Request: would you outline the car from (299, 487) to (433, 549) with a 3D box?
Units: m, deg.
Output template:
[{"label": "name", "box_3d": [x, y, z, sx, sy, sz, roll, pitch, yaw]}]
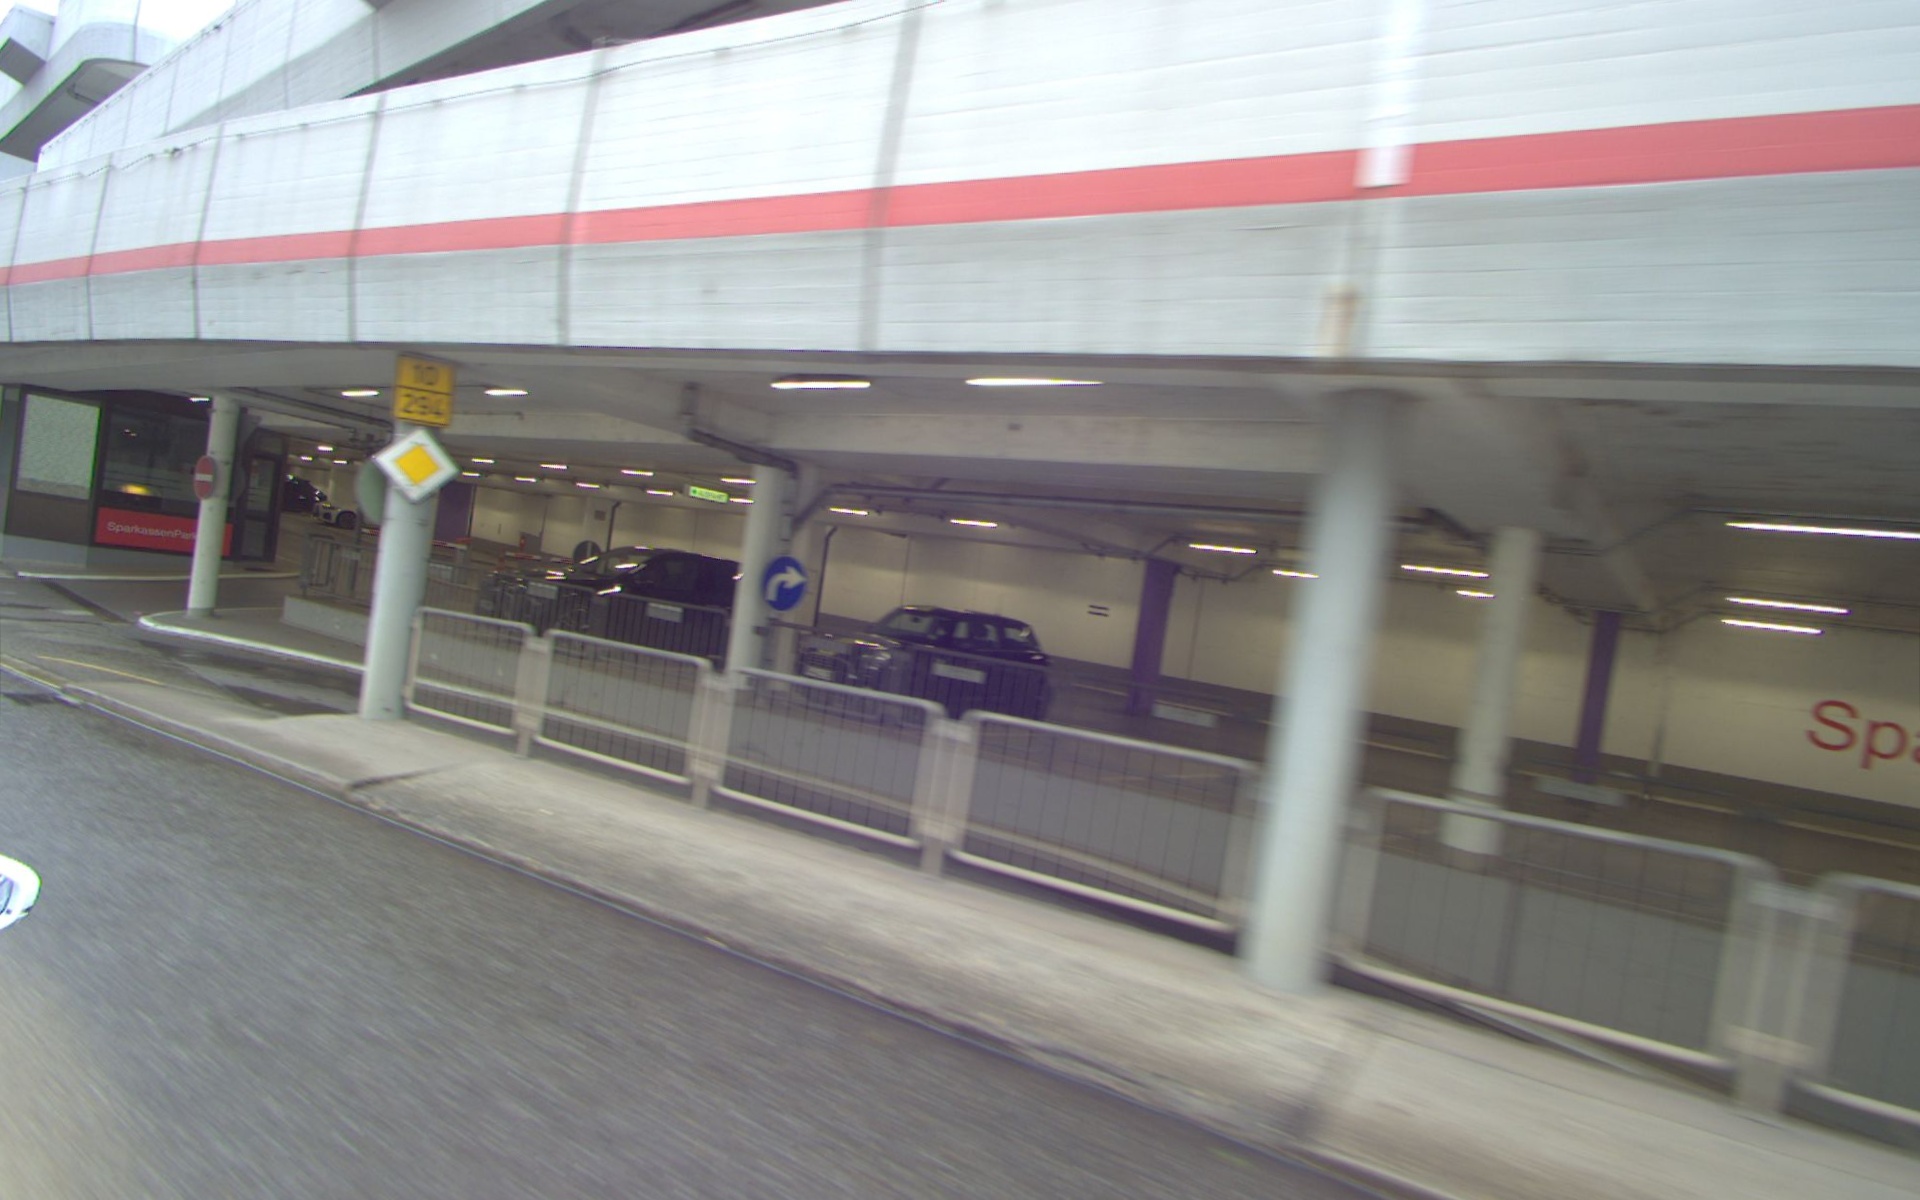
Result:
[{"label": "car", "box_3d": [-23.354, -3.198, 39.642, 1.972, 1.658, 3.986, 6, -3, 40]}]

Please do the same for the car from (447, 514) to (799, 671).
[{"label": "car", "box_3d": [-4.857, -0.031, 15.075, 1.798, 1.658, 4.572, 6, -3, 43]}]

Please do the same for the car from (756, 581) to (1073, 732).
[{"label": "car", "box_3d": [-0.486, 0.757, 12.964, 3.711, 1.524, 1.784, 6, 1, -44]}]
